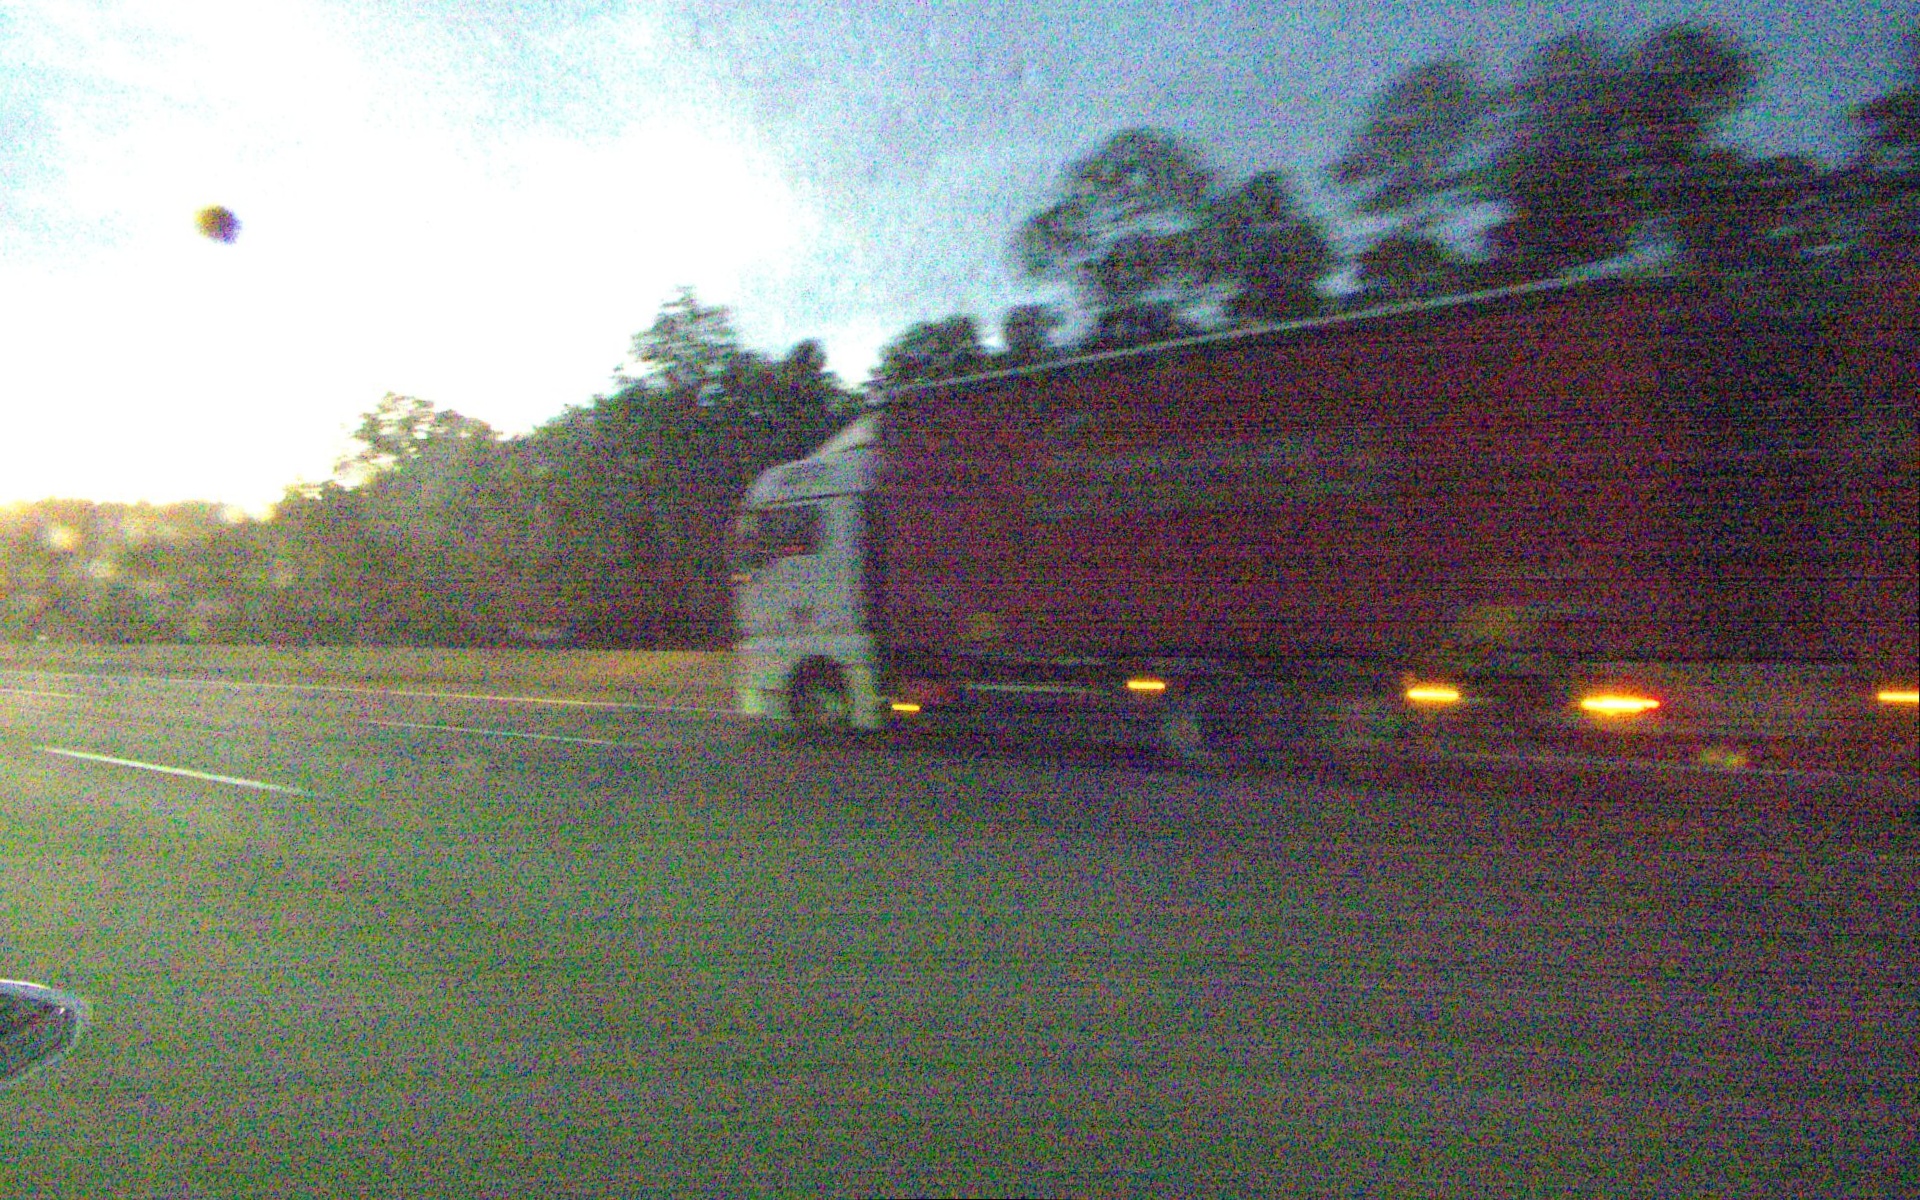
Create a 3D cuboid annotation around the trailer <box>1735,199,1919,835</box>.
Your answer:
[{"bbox_3d":[10.778,-0.580,5.360,10.210,4.154,2.901,-1,0,33],"label":"trailer"}]

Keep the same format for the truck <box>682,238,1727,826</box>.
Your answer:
[{"bbox_3d":[1.691,-0.397,11.195,10.678,4.154,2.879,-1,0,33],"label":"truck"}]
